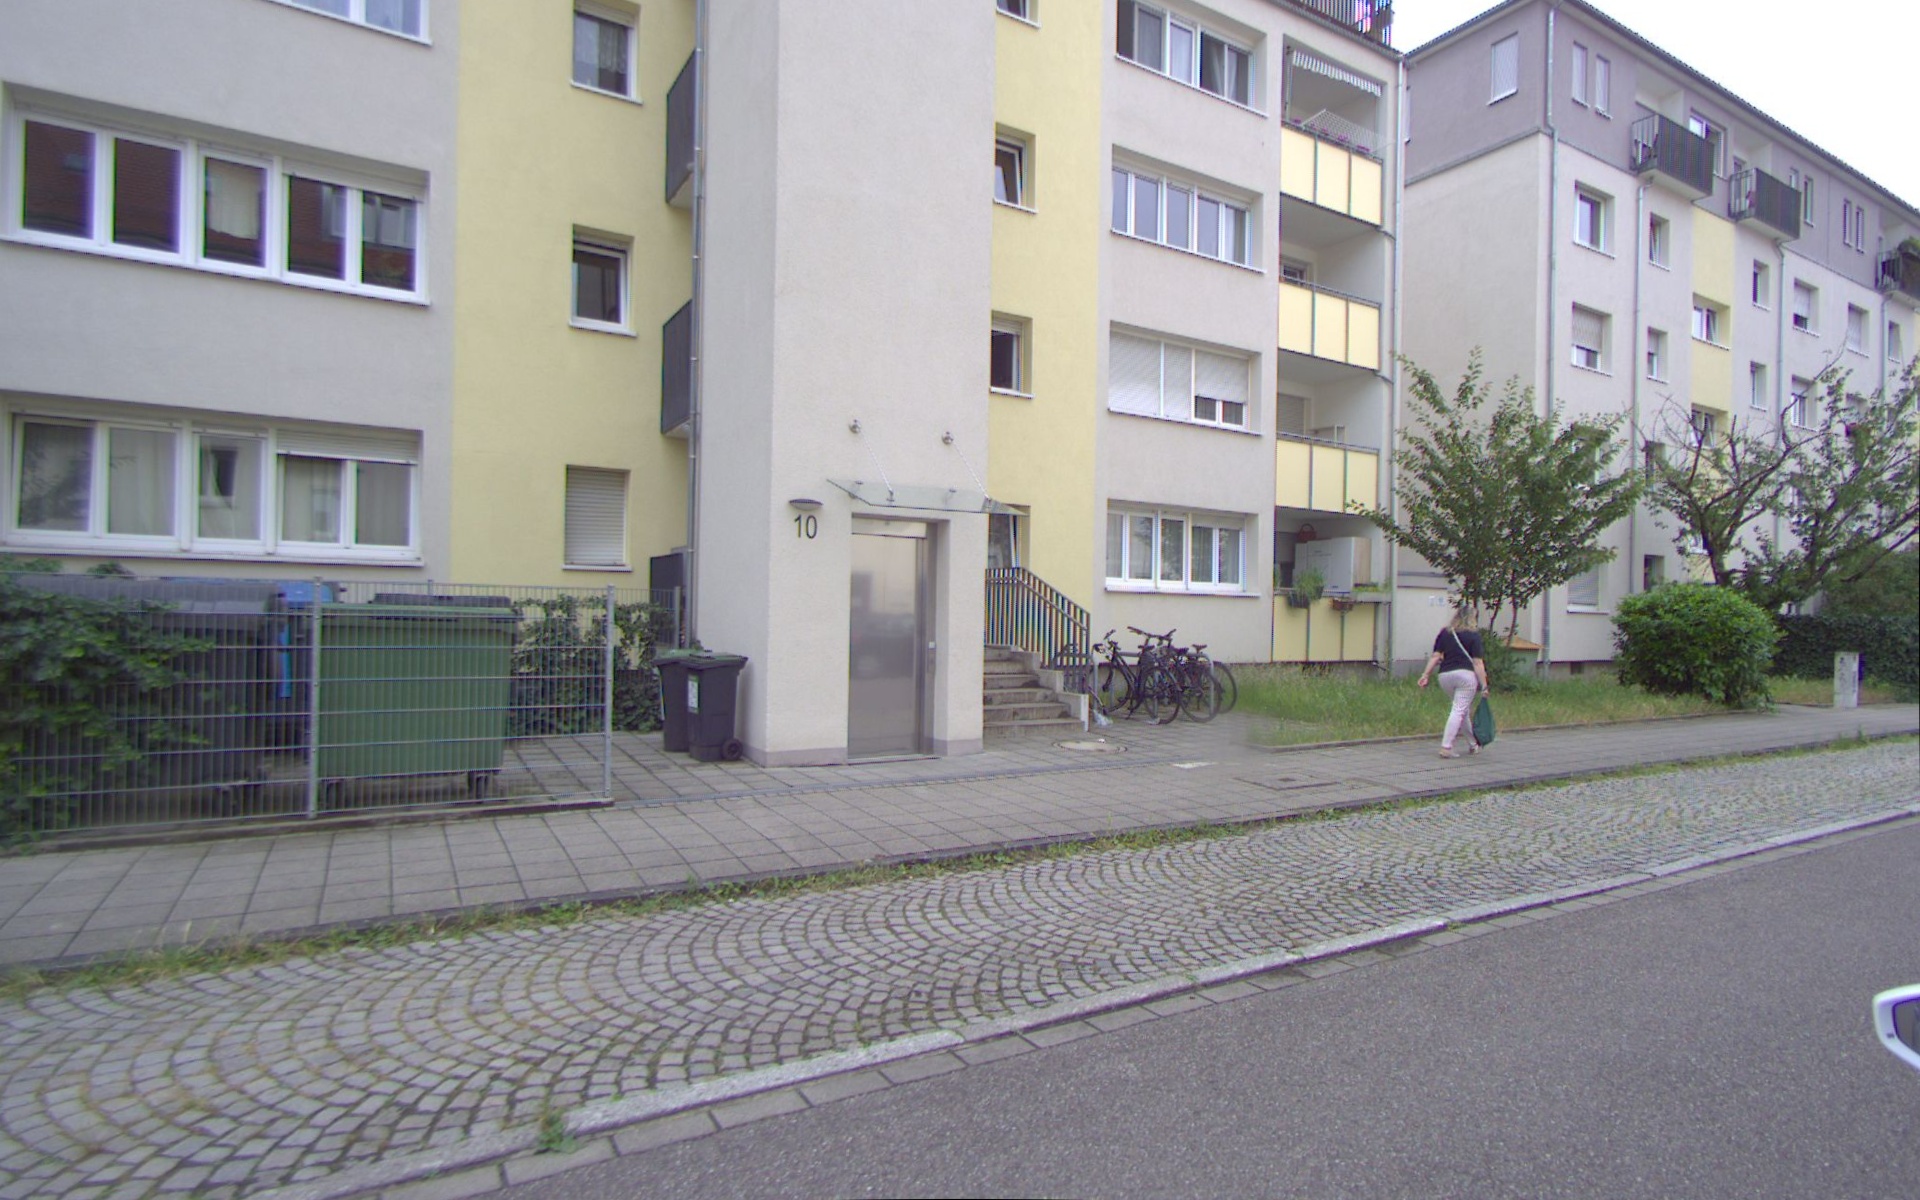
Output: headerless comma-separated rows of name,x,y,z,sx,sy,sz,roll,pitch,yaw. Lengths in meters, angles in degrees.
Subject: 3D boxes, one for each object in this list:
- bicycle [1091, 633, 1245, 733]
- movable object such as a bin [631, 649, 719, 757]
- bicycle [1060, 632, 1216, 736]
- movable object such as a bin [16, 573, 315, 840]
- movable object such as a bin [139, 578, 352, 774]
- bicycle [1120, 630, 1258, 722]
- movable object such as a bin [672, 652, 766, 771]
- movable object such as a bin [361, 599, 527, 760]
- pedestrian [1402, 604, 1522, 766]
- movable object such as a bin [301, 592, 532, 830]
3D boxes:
bicycle,2.667,1.034,13.083,0.618,1.156,2.006,1,-1,-40
movable object such as a bin,-2.668,0.942,9.400,0.644,0.934,0.633,1,-1,-30
bicycle,2.202,1.008,12.657,0.618,1.156,2.006,1,-1,-40
movable object such as a bin,-4.746,0.592,6.121,1.272,1.448,0.800,1,0,-28
movable object such as a bin,-5.975,0.583,8.534,1.357,1.484,1.344,1,0,-32
bicycle,3.143,1.011,13.988,0.617,1.156,2.010,1,-1,-33
movable object such as a bin,-2.151,0.966,8.940,0.644,0.977,0.633,1,-1,-30
movable object such as a bin,-4.754,0.684,9.252,1.273,1.357,0.974,1,0,-31
pedestrian,5.368,0.872,10.747,0.937,1.631,0.794,1,-1,-35
movable object such as a bin,-3.610,0.686,6.763,1.271,1.448,0.800,1,0,-27
